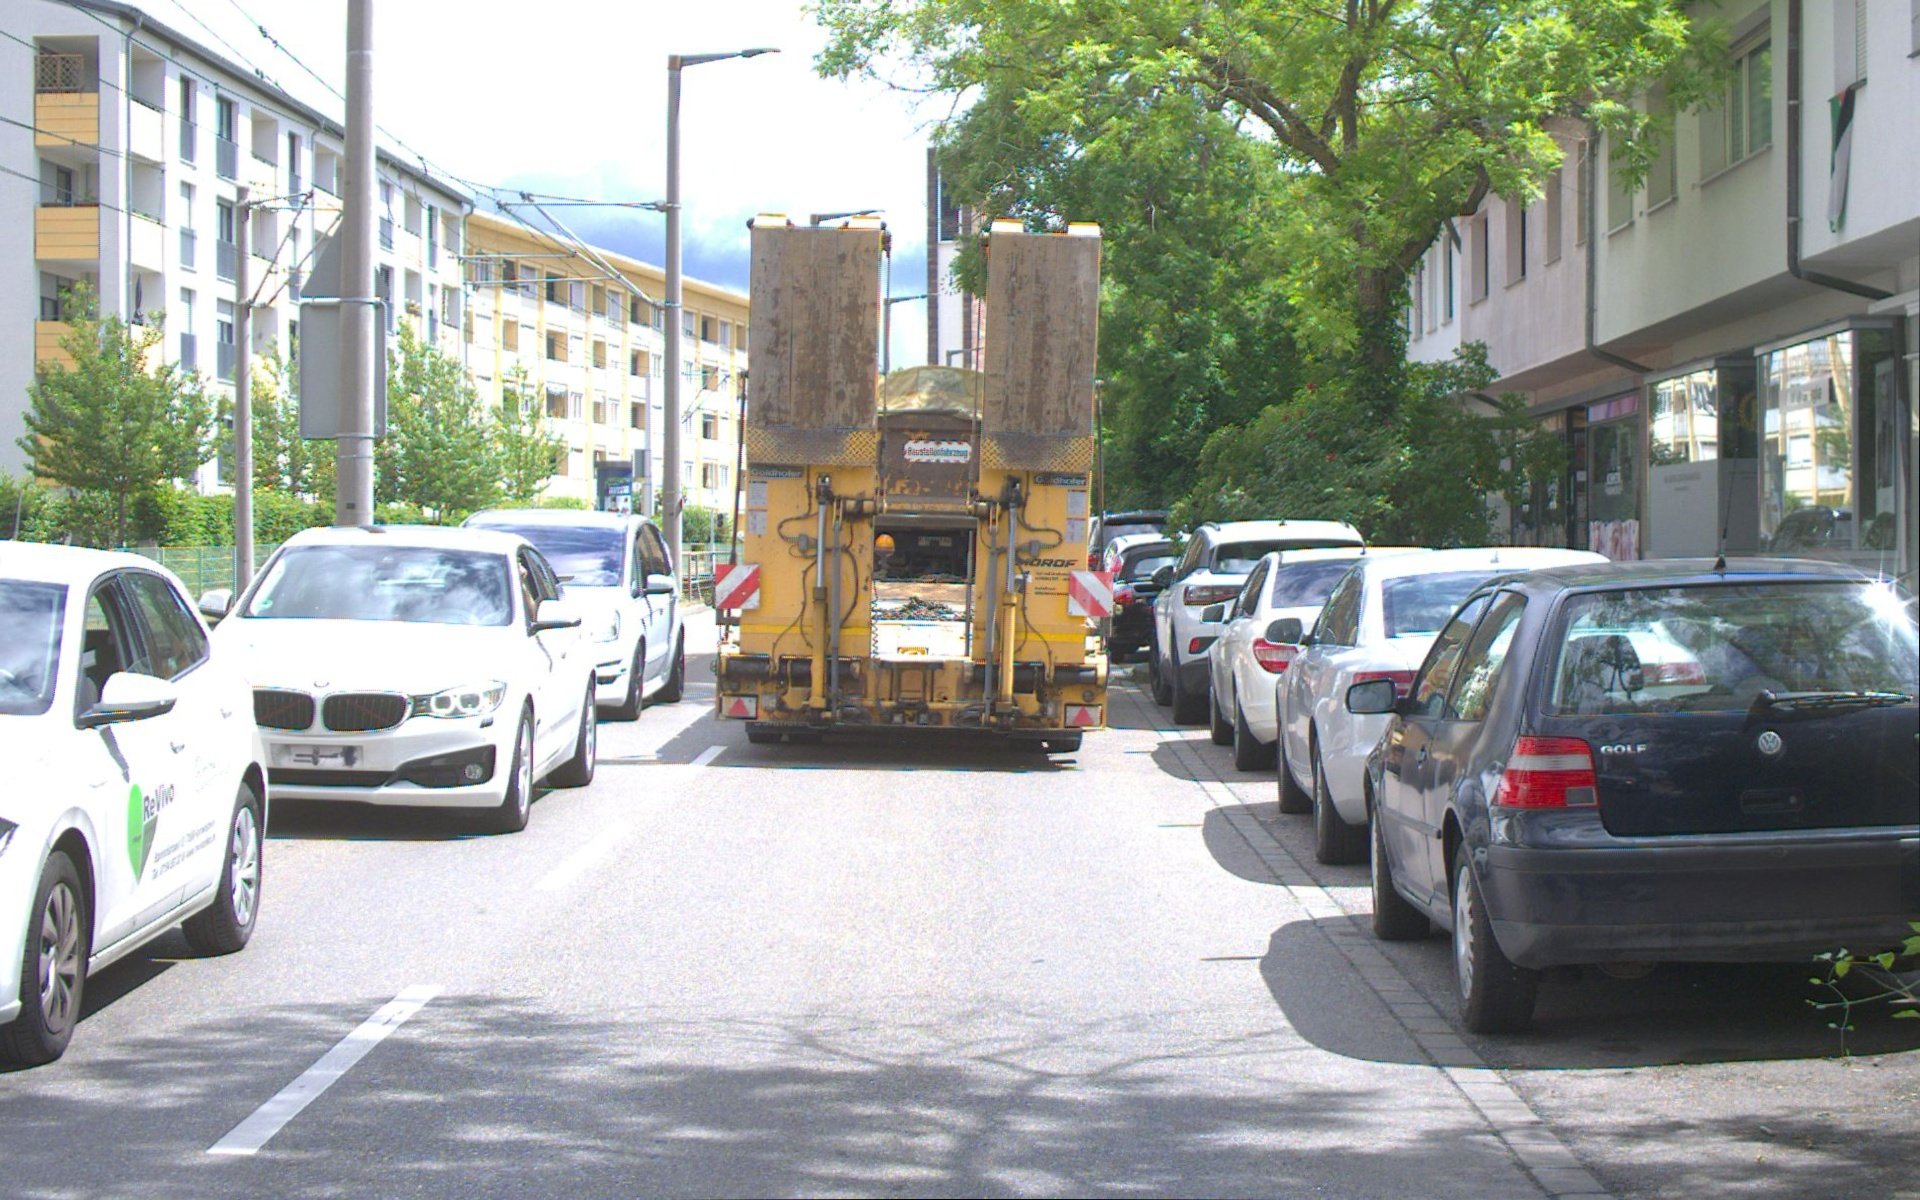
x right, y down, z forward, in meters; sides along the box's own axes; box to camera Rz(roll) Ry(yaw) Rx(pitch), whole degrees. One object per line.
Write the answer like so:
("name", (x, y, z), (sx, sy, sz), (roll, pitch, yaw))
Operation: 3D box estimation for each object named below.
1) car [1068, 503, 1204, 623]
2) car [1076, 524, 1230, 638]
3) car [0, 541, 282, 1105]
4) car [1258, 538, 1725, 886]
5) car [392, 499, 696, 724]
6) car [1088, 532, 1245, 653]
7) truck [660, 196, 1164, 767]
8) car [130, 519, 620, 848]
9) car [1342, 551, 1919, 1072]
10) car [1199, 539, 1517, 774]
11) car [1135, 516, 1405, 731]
("car", (2.710, -0.601, 53.579), (2.015, 1.782, 5.076), (0, 1, 2))
("car", (2.599, -0.284, 46.972), (1.771, 1.437, 3.900), (-2, 1, -1))
("car", (-3.330, 0.529, 10.674), (1.746, 1.401, 3.941), (1, 1, -1))
("car", (2.543, 0.445, 17.553), (1.814, 1.493, 4.910), (1, 1, 3))
("car", (-3.264, 0.036, 27.802), (1.817, 1.608, 4.602), (2, 1, 0))
("car", (2.538, -0.129, 41.680), (1.771, 1.345, 4.000), (-2, 1, 5))
("truck", (-0.292, -0.883, 27.918), (3.124, 3.552, 12.460), (1, 1, 0))
("car", (-2.999, 0.342, 18.639), (1.817, 1.497, 4.837), (2, 1, 0))
("car", (2.380, 0.583, 11.933), (1.814, 1.458, 4.040), (1, 1, 3))
("car", (2.616, 0.311, 23.490), (1.725, 1.421, 4.446), (1, 1, 1))
("car", (2.513, 0.131, 28.842), (1.837, 1.638, 4.430), (1, 1, 0))
